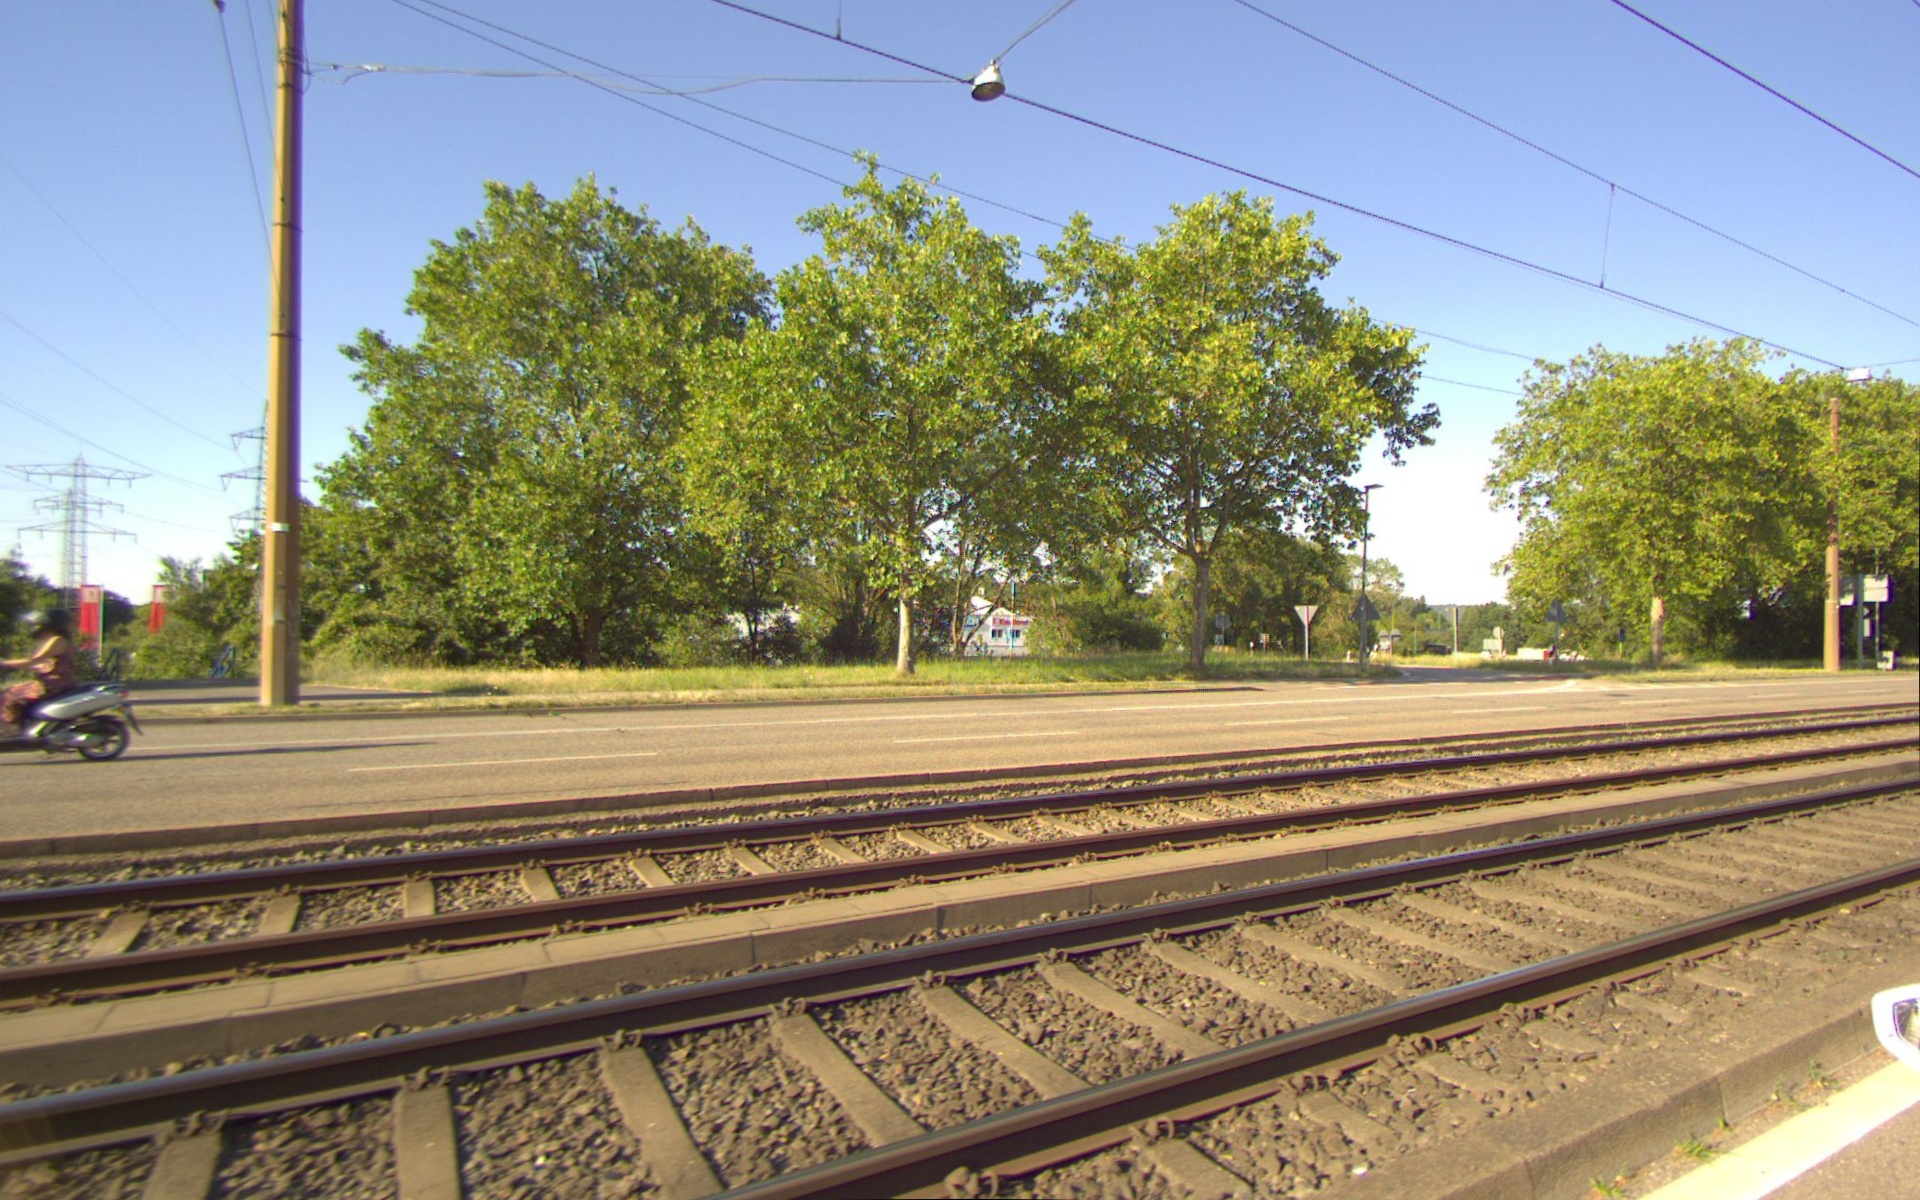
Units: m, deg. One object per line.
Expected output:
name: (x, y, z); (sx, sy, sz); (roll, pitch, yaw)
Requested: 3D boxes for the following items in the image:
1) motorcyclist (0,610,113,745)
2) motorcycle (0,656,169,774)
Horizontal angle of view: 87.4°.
motorcyclist: (-9.132, 0.764, 10.128); (0.795, 1.287, 0.533); (2, 1, -30)
motorcycle: (-9.205, 1.133, 10.093); (1.880, 1.105, 0.533); (2, 1, -31)
